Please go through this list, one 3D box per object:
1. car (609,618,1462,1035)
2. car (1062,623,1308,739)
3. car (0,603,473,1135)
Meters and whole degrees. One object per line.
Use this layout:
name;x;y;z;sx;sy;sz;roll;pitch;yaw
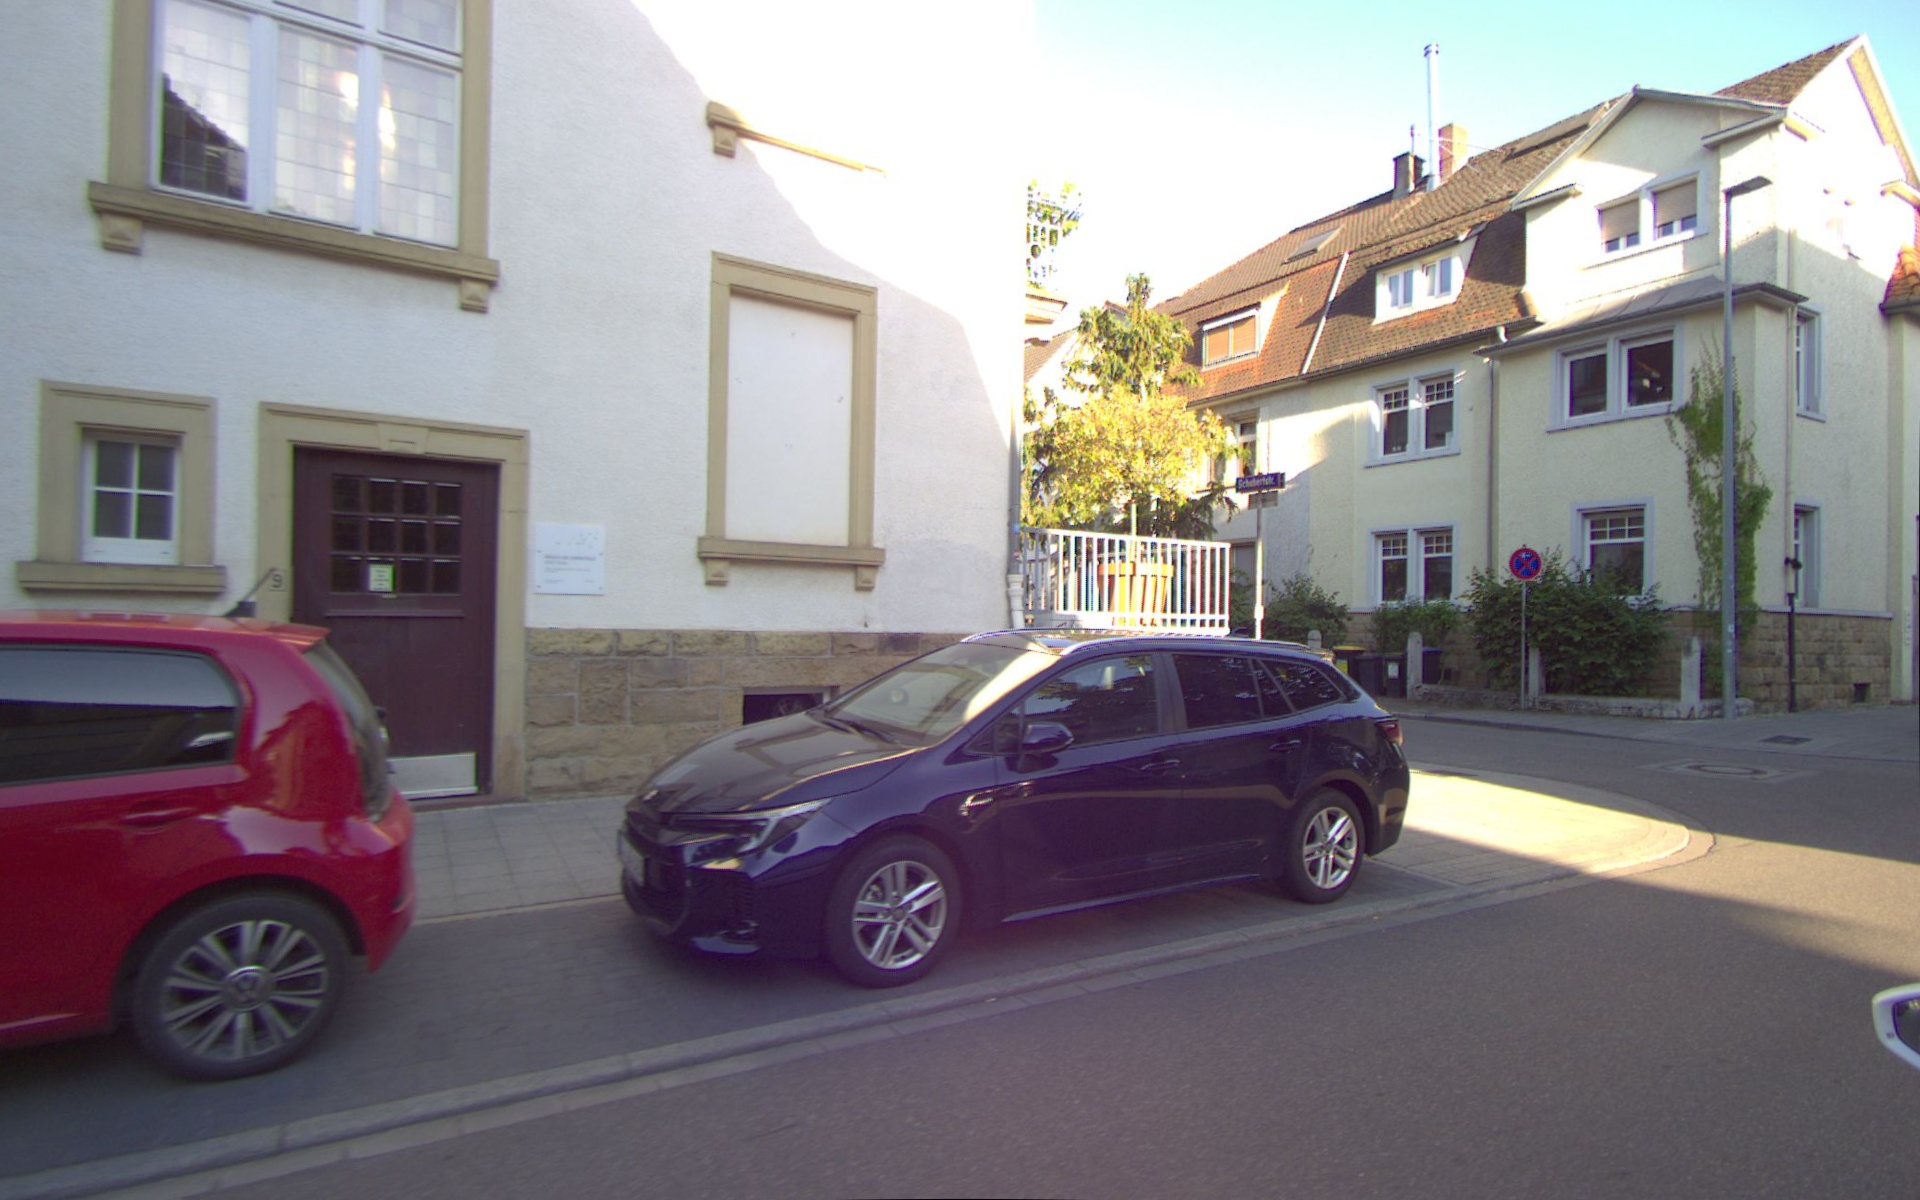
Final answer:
car;0.614;0.886;5.532;4.577;1.473;1.645;2;0;-31
car;3.515;1.199;16.284;1.743;1.580;3.739;0;0;-34
car;-3.677;0.760;3.179;3.667;1.496;1.572;1;0;-33
